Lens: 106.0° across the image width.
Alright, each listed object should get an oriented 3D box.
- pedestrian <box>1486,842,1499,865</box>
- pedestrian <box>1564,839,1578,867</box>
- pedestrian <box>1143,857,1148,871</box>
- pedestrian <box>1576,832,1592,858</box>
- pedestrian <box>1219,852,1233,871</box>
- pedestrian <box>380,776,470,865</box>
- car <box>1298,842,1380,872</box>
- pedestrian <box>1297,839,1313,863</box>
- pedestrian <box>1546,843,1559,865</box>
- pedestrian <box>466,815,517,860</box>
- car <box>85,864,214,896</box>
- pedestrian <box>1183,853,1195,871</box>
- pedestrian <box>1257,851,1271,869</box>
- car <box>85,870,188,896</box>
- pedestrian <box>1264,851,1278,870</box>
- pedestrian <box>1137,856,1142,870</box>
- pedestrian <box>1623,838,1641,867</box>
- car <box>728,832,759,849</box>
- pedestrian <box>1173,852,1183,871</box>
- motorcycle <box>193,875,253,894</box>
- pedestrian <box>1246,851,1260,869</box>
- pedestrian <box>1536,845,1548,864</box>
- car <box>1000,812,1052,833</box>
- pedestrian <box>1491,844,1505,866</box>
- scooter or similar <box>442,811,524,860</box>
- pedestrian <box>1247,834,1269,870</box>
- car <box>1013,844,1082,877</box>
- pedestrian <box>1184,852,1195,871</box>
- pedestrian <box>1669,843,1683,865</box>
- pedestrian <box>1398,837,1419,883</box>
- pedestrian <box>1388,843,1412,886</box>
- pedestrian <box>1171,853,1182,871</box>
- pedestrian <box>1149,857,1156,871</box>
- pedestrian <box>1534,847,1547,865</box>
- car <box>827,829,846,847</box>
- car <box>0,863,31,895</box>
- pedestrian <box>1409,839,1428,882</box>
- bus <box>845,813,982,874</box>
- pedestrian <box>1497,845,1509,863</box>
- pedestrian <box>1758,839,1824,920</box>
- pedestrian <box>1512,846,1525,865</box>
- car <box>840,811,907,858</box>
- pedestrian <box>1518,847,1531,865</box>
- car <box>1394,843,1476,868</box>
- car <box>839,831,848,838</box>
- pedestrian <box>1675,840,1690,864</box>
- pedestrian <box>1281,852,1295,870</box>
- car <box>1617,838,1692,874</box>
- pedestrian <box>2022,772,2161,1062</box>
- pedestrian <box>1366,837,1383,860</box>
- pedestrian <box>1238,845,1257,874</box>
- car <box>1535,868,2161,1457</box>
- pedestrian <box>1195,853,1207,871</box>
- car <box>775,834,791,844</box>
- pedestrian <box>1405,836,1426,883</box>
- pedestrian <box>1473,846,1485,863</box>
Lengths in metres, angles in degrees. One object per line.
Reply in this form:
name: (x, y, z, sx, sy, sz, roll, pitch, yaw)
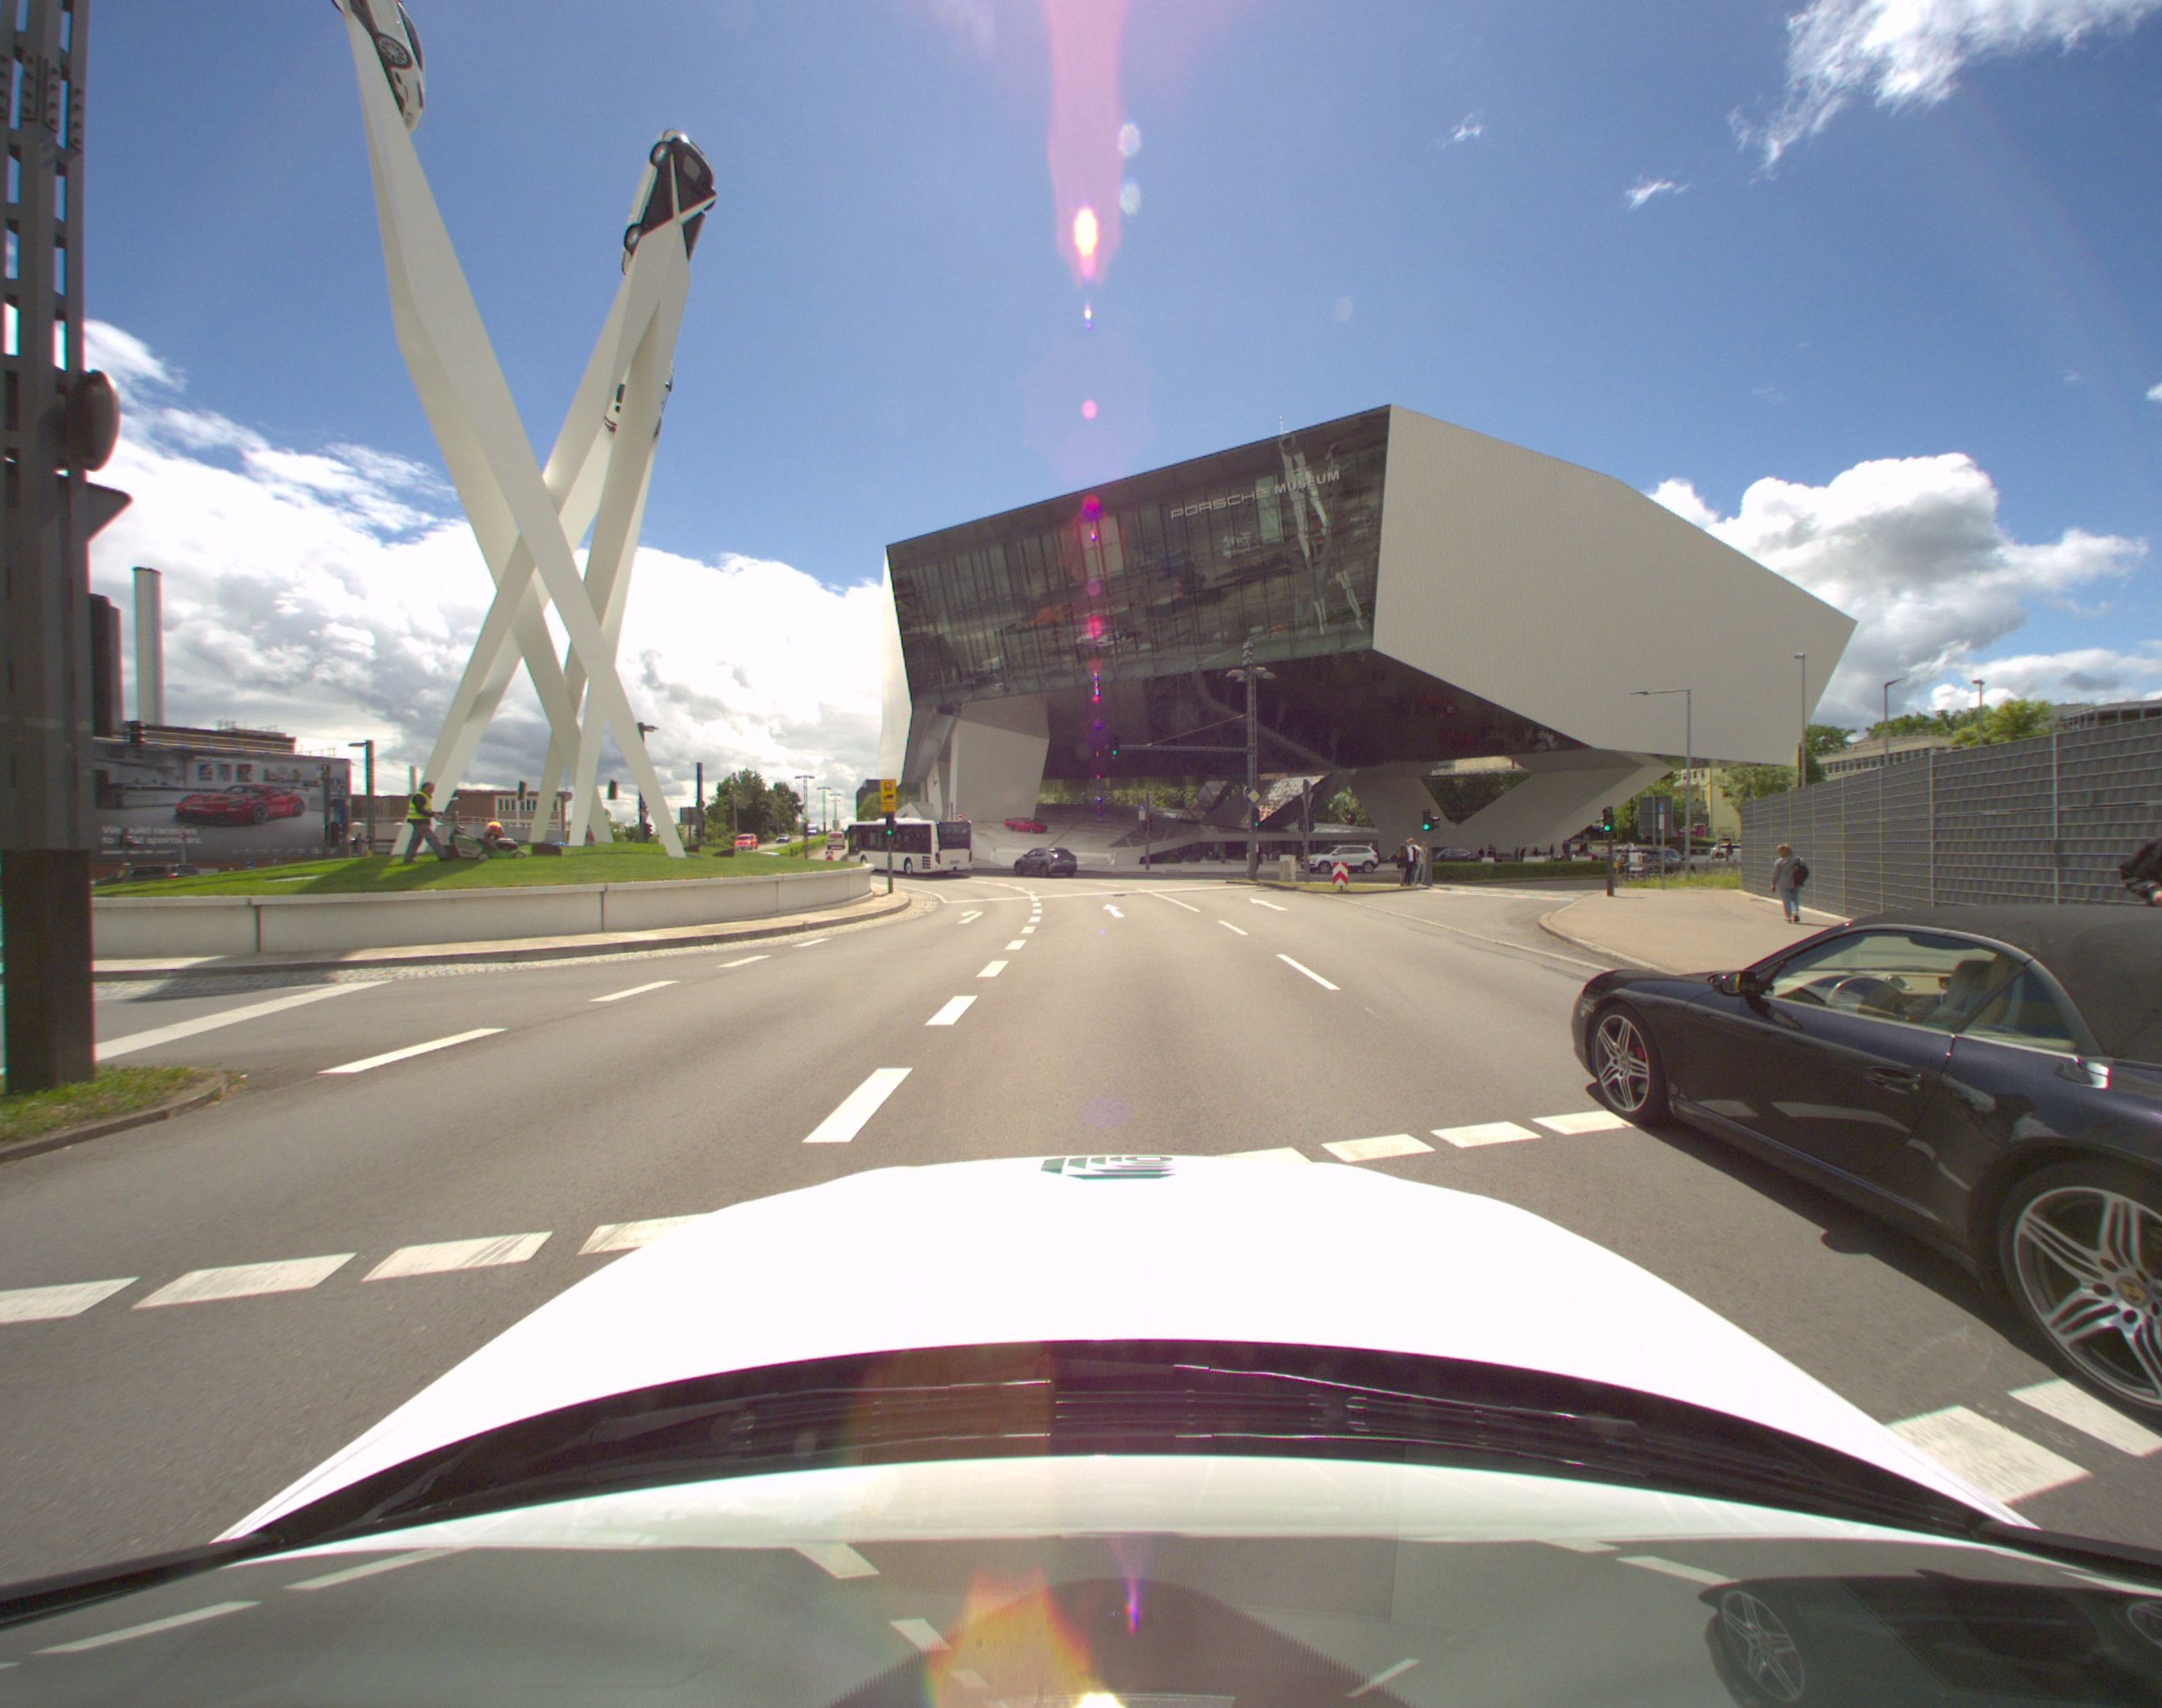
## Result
pedestrian: (37.282, -0.036, 73.797, 0.831, 2.014, 0.769, 1, -1, -33)
pedestrian: (35.723, -0.065, 59.393, 0.767, 2.014, 0.832, 0, -1, 23)
pedestrian: (5.974, 0.899, 75.100, 0.393, 1.253, 0.561, 0, -1, -4)
pedestrian: (39.732, -0.682, 64.322, 0.831, 2.014, 0.769, 1, -1, -33)
pedestrian: (12.718, 0.659, 71.327, 0.831, 1.573, 0.916, 1, -1, -24)
pedestrian: (-13.939, -0.747, 17.356, 1.290, 1.816, 0.977, -3, 5, -31)
car: (14.381, 0.165, 45.514, 3.986, 1.550, 1.833, -2, -1, -9)
pedestrian: (17.041, -0.212, 61.915, 0.831, 1.826, 0.916, 1, -1, -24)
pedestrian: (45.444, 0.014, 78.432, 0.830, 2.114, 0.769, 1, -1, -31)
pedestrian: (-19.715, -0.539, 27.263, 0.848, 1.406, 0.967, -7, -2, 7)
car: (-48.593, 1.349, 42.564, 3.988, 1.637, 1.992, 0, -1, -11)
pedestrian: (9.403, 0.680, 70.848, 0.914, 1.573, 0.833, 0, -1, 12)
pedestrian: (15.967, 0.545, 71.050, 0.831, 1.573, 0.916, 1, -1, -24)
car: (-56.326, 1.693, 48.607, 3.967, 1.501, 2.003, 0, -1, 5)
pedestrian: (16.353, 0.574, 70.177, 0.831, 1.573, 0.916, 1, -1, -24)
pedestrian: (5.105, 0.805, 71.531, 0.393, 1.253, 0.400, 0, -1, -4)
pedestrian: (38.784, -0.079, 57.340, 0.831, 2.014, 0.769, 1, -1, -33)
car: (-41.672, -1.654, 100.729, 1.989, 1.983, 4.832, -1, 1, -3)
pedestrian: (8.290, 0.651, 69.906, 0.823, 1.573, 0.925, 0, -1, 8)
motorcycle: (-54.340, 1.928, 51.603, 2.891, 1.196, 0.921, 0, -1, 3)
pedestrian: (14.832, 0.548, 70.234, 0.831, 1.573, 0.916, 1, -1, -24)
pedestrian: (43.798, 0.073, 77.383, 0.831, 1.739, 0.768, 1, -2, -38)
car: (-5.102, -2.929, 75.383, 4.456, 1.394, 2.013, 7, 8, 31)
pedestrian: (38.050, 0.078, 74.337, 0.831, 2.014, 0.769, 1, -1, -33)
scooter or similar: (-13.135, -0.409, 17.934, 1.410, 1.025, 0.544, 0, 6, -34)
pedestrian: (9.857, -0.122, 45.336, 0.950, 1.984, 1.382, 0, 1, 1)
car: (-1.923, 0.311, 45.592, 2.009, 1.636, 3.958, -4, 3, -35)
pedestrian: (9.319, 0.664, 69.876, 0.914, 1.573, 0.833, 0, -1, 12)
pedestrian: (54.366, 0.028, 74.415, 0.831, 2.014, 0.769, 1, -1, -33)
pedestrian: (12.888, 0.250, 32.013, 0.664, 1.795, 0.624, -1, -1, 32)
pedestrian: (12.275, 0.412, 31.367, 0.618, 1.638, 0.670, 0, -1, -11)
pedestrian: (8.337, 0.680, 71.033, 0.822, 1.573, 0.926, 0, -1, 13)
pedestrian: (6.673, 0.916, 76.030, 0.555, 1.253, 0.477, 0, -1, 25)
pedestrian: (44.484, 0.205, 78.836, 0.830, 1.739, 0.769, 1, -1, -30)
car: (-27.965, -1.832, 93.270, 1.998, 1.904, 3.977, 1, -1, -17)
car: (-66.249, 1.480, 48.769, 4.475, 1.858, 2.215, 0, -1, 10)
pedestrian: (13.948, 0.266, 33.643, 0.599, 1.759, 0.624, -1, -1, 31)
bus: (-10.636, -0.490, 50.195, 3.097, 3.362, 12.082, 1, -1, -39)
pedestrian: (41.631, 0.016, 80.289, 0.831, 1.739, 0.769, 1, -1, -33)
pedestrian: (14.490, 0.510, 16.647, 0.688, 1.586, 0.925, 0, -1, 17)
pedestrian: (41.298, 0.162, 76.860, 0.831, 1.739, 0.769, 1, -1, -33)
car: (-17.349, -1.470, 67.672, 3.354, 3.504, 9.257, 1, -1, -28)
pedestrian: (42.503, 0.184, 77.976, 0.830, 1.739, 0.769, 1, -1, -31)
car: (20.119, 0.092, 46.328, 4.156, 1.383, 1.827, 0, 1, -18)
car: (-61.478, -5.103, 210.947, 1.996, 1.635, 4.635, 0, 1, -13)
pedestrian: (52.114, -0.183, 70.578, 0.831, 2.014, 0.769, 1, -1, -33)
pedestrian: (17.923, 0.587, 70.625, 0.830, 1.573, 0.918, 1, -1, -17)
car: (28.478, 0.150, 40.392, 4.019, 1.703, 1.977, 1, -1, -38)
pedestrian: (7.154, 0.410, 5.579, 0.663, 1.866, 0.786, 1, -1, -29)
pedestrian: (22.394, -0.424, 62.173, 0.831, 1.676, 0.916, 1, -1, -24)
pedestrian: (8.710, 0.275, 42.570, 0.762, 1.496, 0.586, -1, -2, 43)
car: (3.707, 0.811, 3.256, 1.825, 1.325, 4.006, 1, 1, 5)
pedestrian: (10.374, 0.679, 70.583, 0.785, 1.573, 0.698, -1, -2, 37)
car: (-46.812, -2.428, 128.108, 1.757, 1.397, 4.653, 1, 2, -13)
pedestrian: (13.392, 0.213, 32.604, 0.664, 1.847, 0.624, -1, -1, 30)
pedestrian: (39.025, 0.059, 79.868, 0.830, 1.739, 0.769, 1, -1, -30)
